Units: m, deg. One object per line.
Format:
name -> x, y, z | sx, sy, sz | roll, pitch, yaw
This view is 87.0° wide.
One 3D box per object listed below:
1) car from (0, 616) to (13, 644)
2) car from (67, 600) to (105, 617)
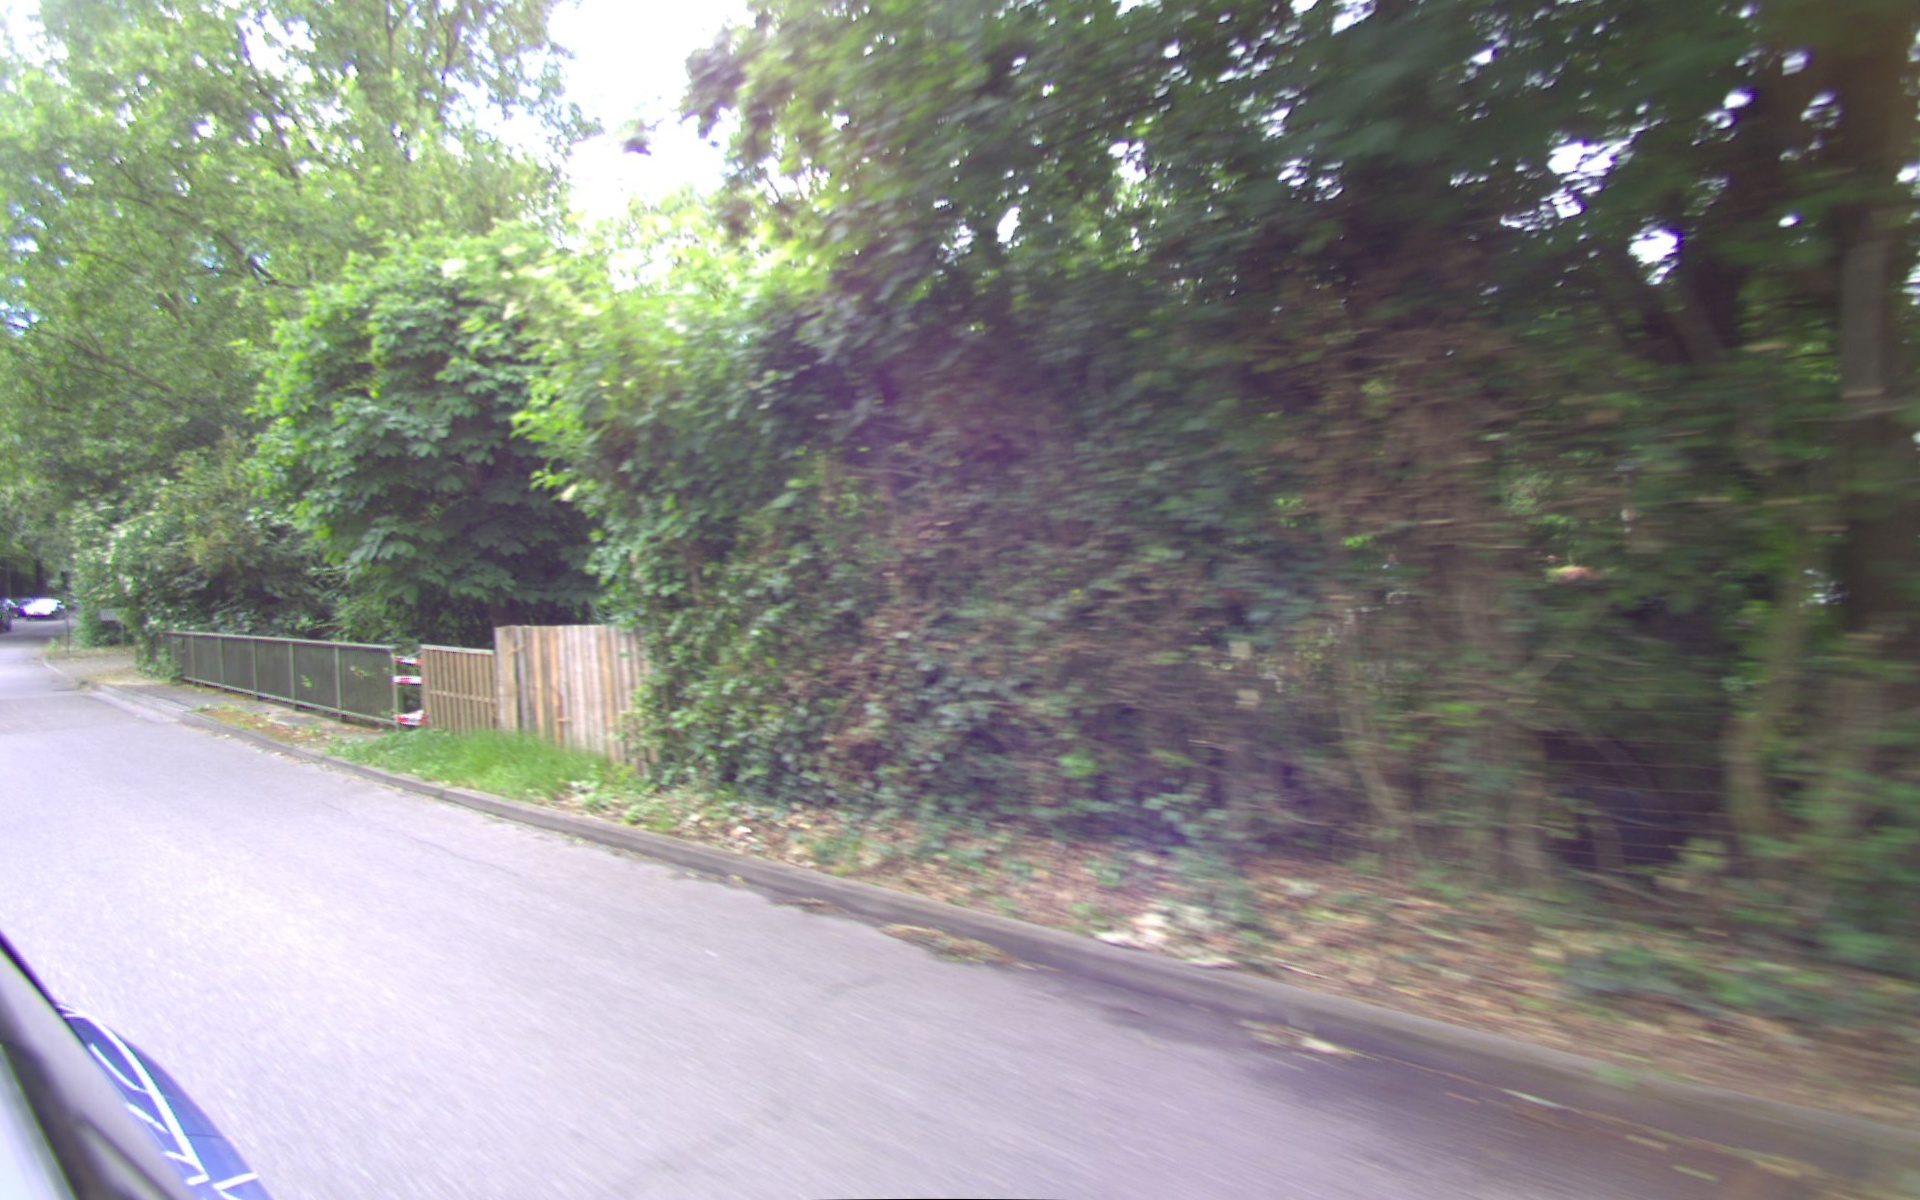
car -> -57.019, 1.781, 59.092 | 1.739, 1.580, 4.057 | -2, 2, -33
car -> -82.719, 0.781, 95.784 | 1.665, 1.493, 4.120 | -2, 1, -26
